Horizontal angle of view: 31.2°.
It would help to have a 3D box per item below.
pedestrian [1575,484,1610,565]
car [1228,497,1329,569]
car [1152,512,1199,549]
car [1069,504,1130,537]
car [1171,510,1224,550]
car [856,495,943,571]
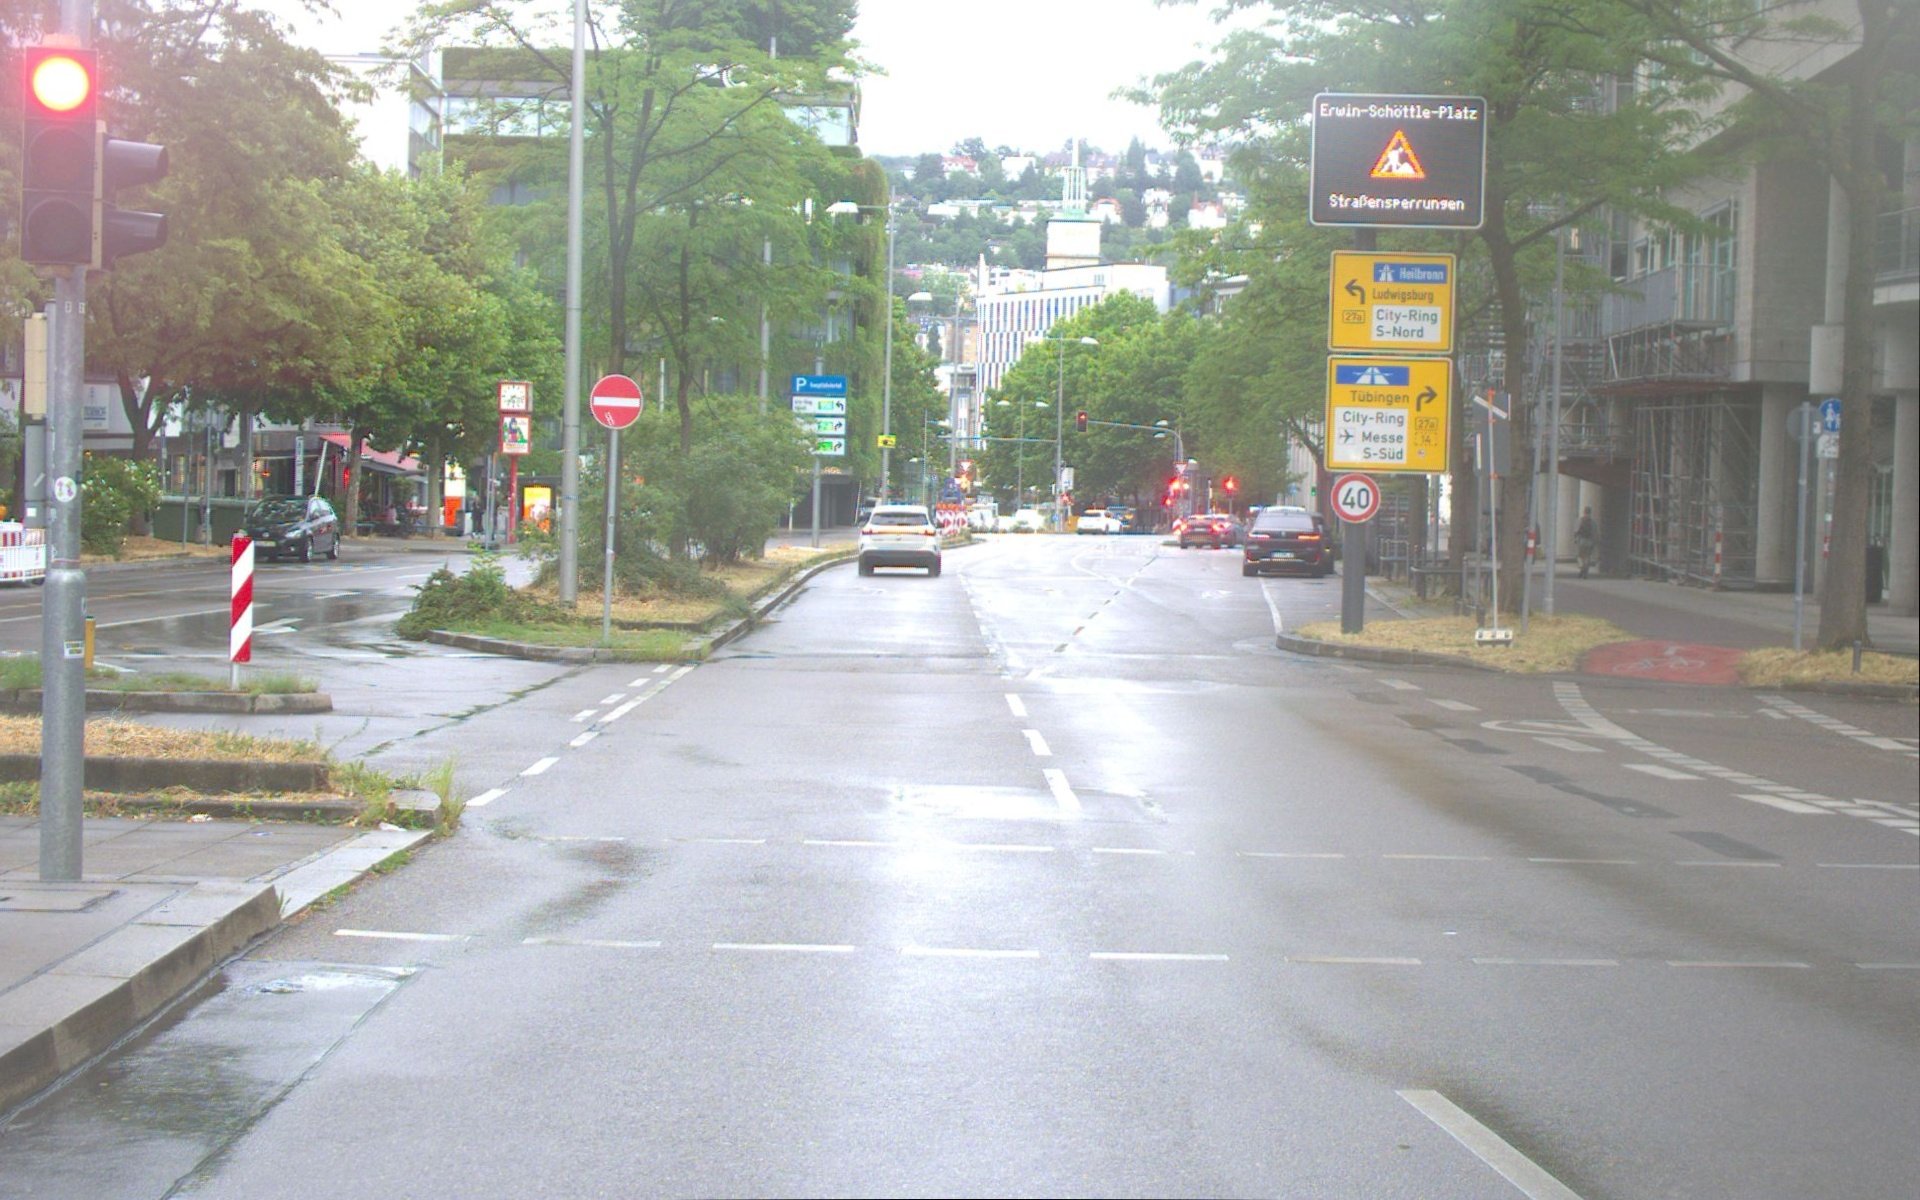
[{"bbox_3d":[15.098,-1.793,82.038,0.775,1.914,0.702,1,0,10],"label":"pedestrian"},{"bbox_3d":[7.754,-1.634,83.430,2.339,1.685,3.999,1,2,6],"label":"car"},{"bbox_3d":[10.444,-3.370,166.807,1.993,1.730,4.000,1,0,-1],"label":"car"},{"bbox_3d":[8.179,-4.653,201.722,1.997,1.752,3.994,3,1,28],"label":"car"},{"bbox_3d":[10.713,-3.144,155.231,1.993,1.718,4.000,1,0,-1],"label":"car"},{"bbox_3d":[-1.425,-1.548,79.572,1.828,1.634,4.301,2,1,-2],"label":"car"}]
